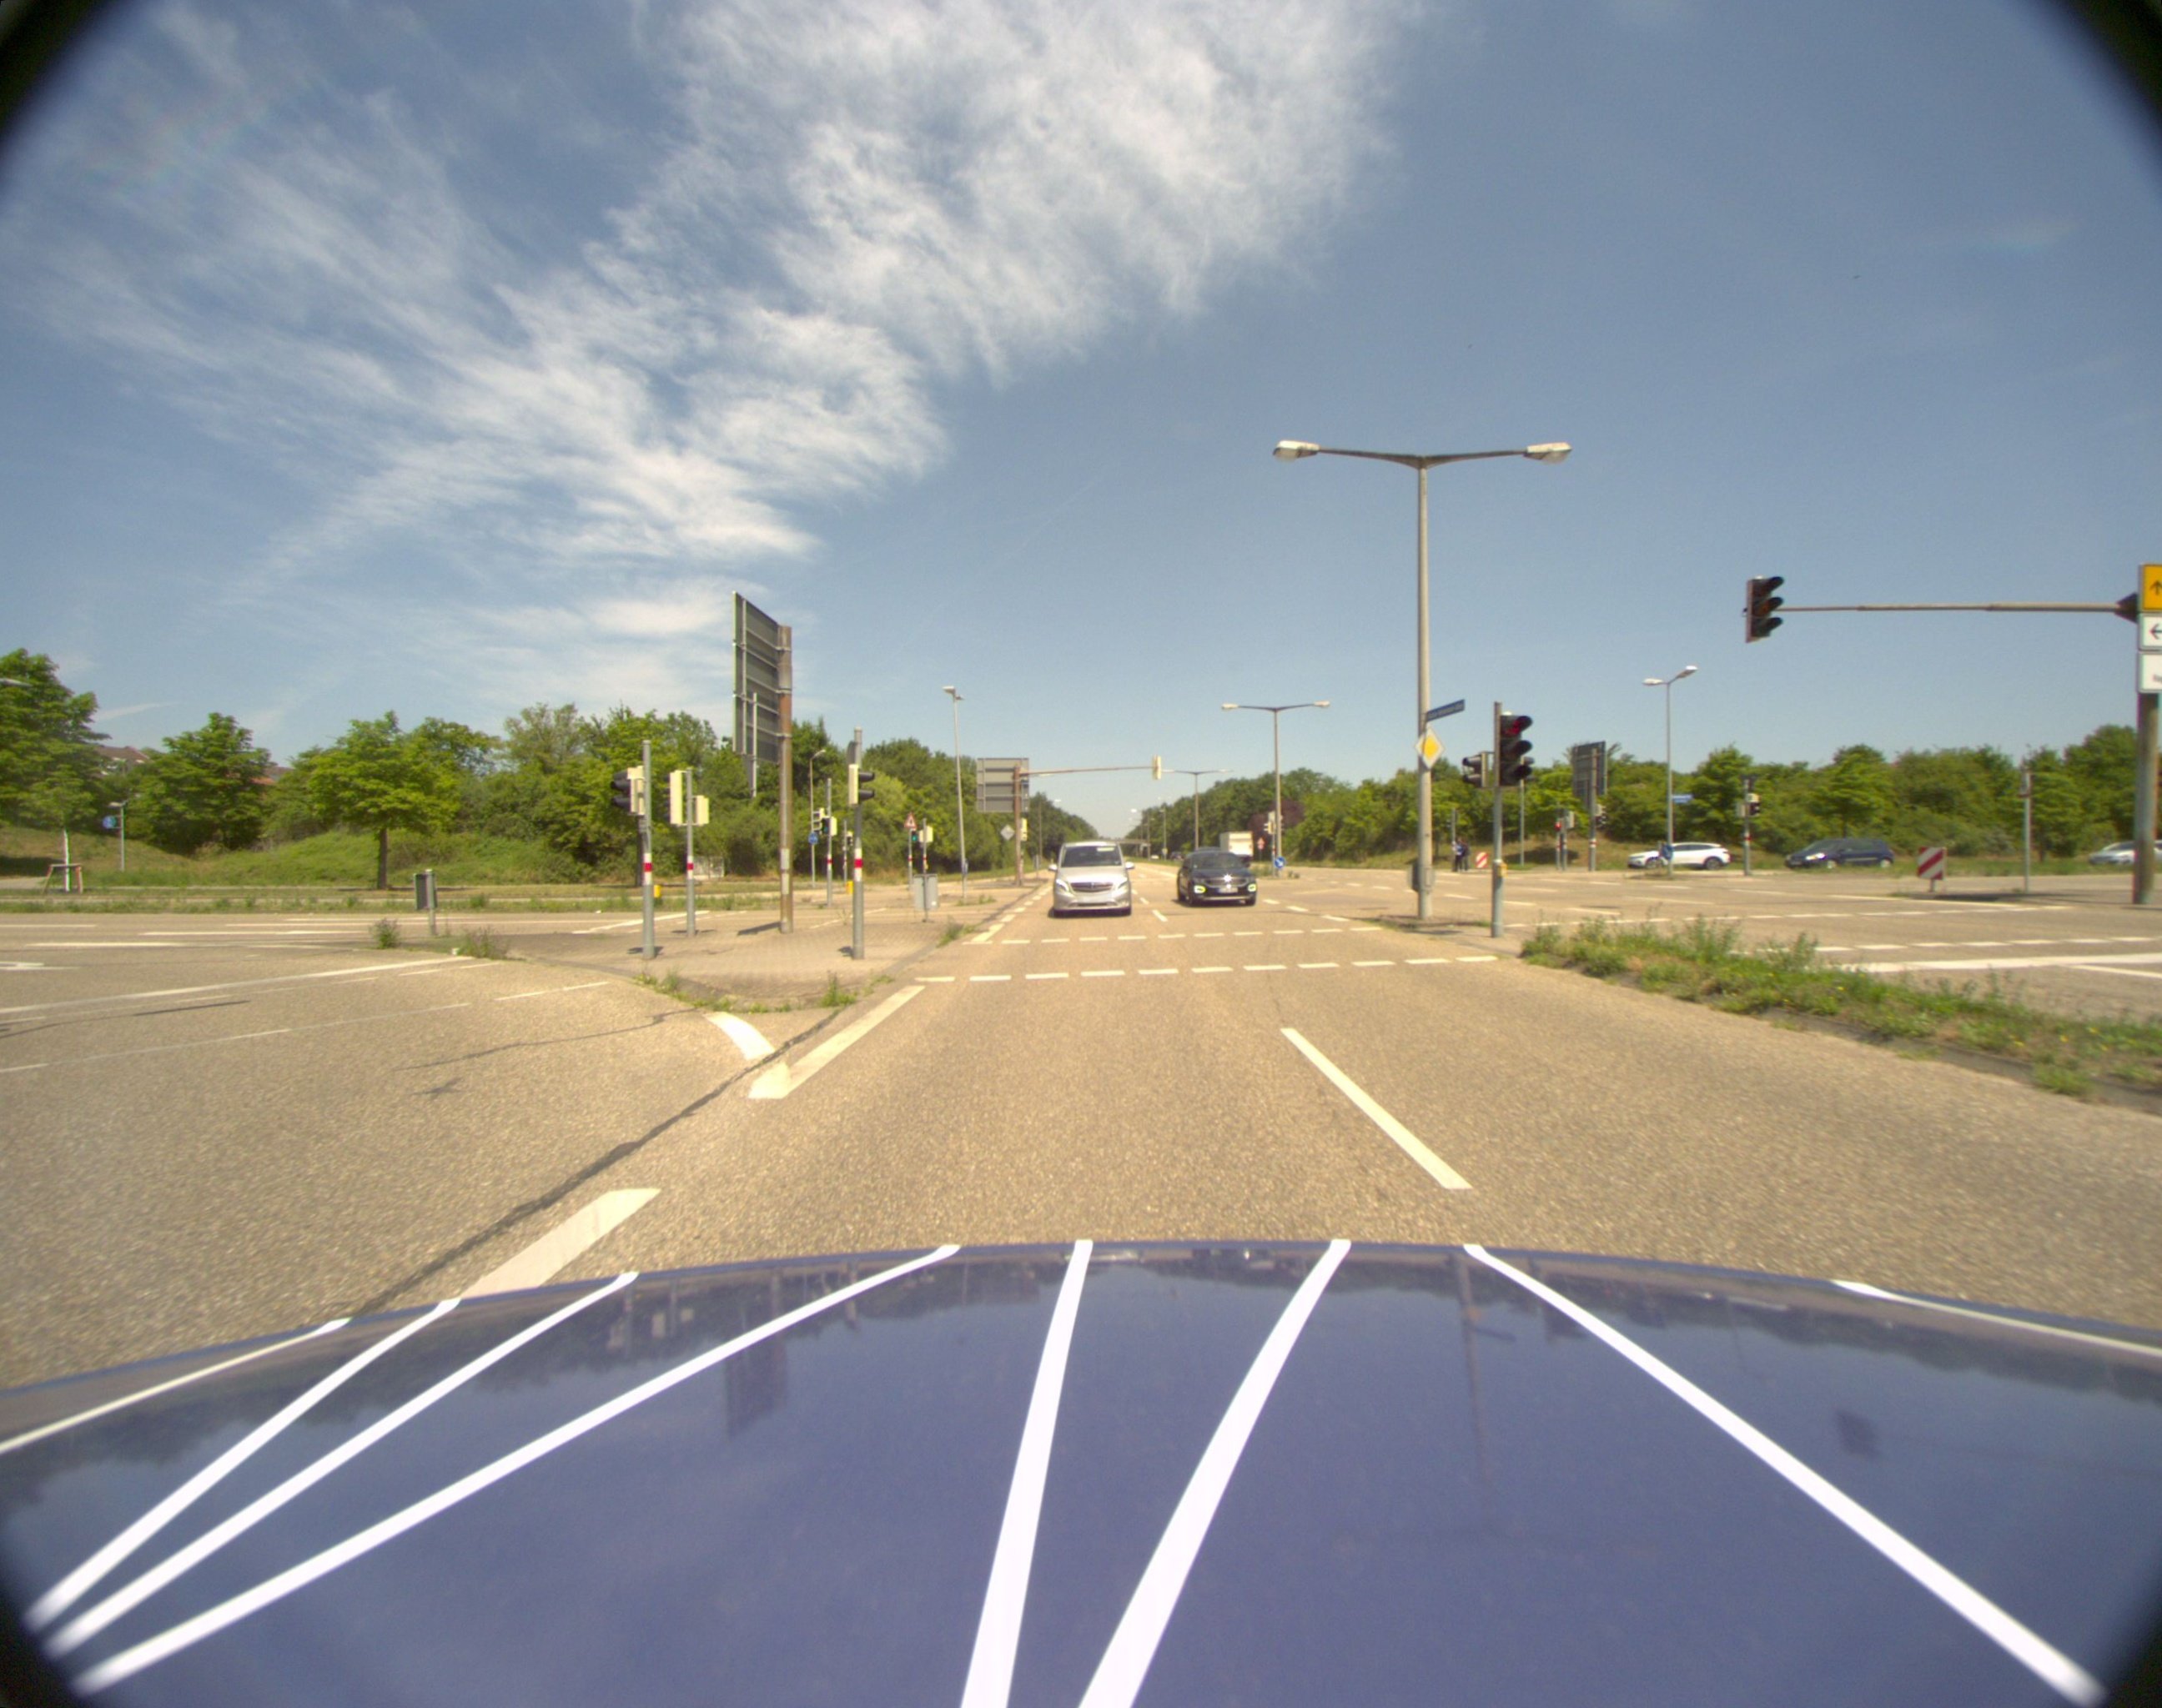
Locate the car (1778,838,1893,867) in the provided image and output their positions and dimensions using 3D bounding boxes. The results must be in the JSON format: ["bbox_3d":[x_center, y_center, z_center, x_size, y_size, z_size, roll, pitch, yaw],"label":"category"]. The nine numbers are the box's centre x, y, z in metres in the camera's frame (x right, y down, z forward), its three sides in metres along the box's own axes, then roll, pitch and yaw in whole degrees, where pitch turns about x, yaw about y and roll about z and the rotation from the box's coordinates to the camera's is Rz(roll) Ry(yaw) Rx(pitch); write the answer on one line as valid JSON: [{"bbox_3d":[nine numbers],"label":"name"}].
[{"bbox_3d":[36.522,-0.069,36.818,3.998,1.328,1.703,-1,0,-3],"label":"car"}]

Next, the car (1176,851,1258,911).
[{"bbox_3d":[3.842,0.712,22.063,1.738,1.503,3.971,-3,0,2],"label":"car"}]

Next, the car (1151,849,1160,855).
[{"bbox_3d":[19.255,-0.448,195.431,1.827,1.447,4.168,-1,0,-1],"label":"car"}]

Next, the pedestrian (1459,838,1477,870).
[{"bbox_3d":[20.738,0.022,40.718,0.723,1.689,0.776,-1,1,20],"label":"pedestrian"}]

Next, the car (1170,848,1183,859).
[{"bbox_3d":[14.924,-0.039,119.005,1.711,1.653,4.223,-1,0,2],"label":"car"}]

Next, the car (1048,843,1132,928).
[{"bbox_3d":[0.274,0.681,19.182,1.764,1.794,4.855,-3,0,2],"label":"car"}]

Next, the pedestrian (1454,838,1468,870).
[{"bbox_3d":[20.834,0.007,41.648,0.582,1.726,0.794,-1,1,21],"label":"pedestrian"}]

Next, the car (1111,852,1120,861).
[{"bbox_3d":[7.255,0.437,161.131,1.735,1.815,4.322,-1,0,2],"label":"car"}]

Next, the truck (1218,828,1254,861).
[{"bbox_3d":[17.344,-1.038,85.529,2.694,3.549,7.267,-1,0,1],"label":"truck"}]

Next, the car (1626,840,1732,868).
[{"bbox_3d":[33.544,-0.011,42.763,4.301,1.492,1.882,0,-2,15],"label":"car"}]

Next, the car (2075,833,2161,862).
[{"bbox_3d":[52.364,-0.341,37.771,3.998,1.353,1.633,-1,0,-4],"label":"car"}]
